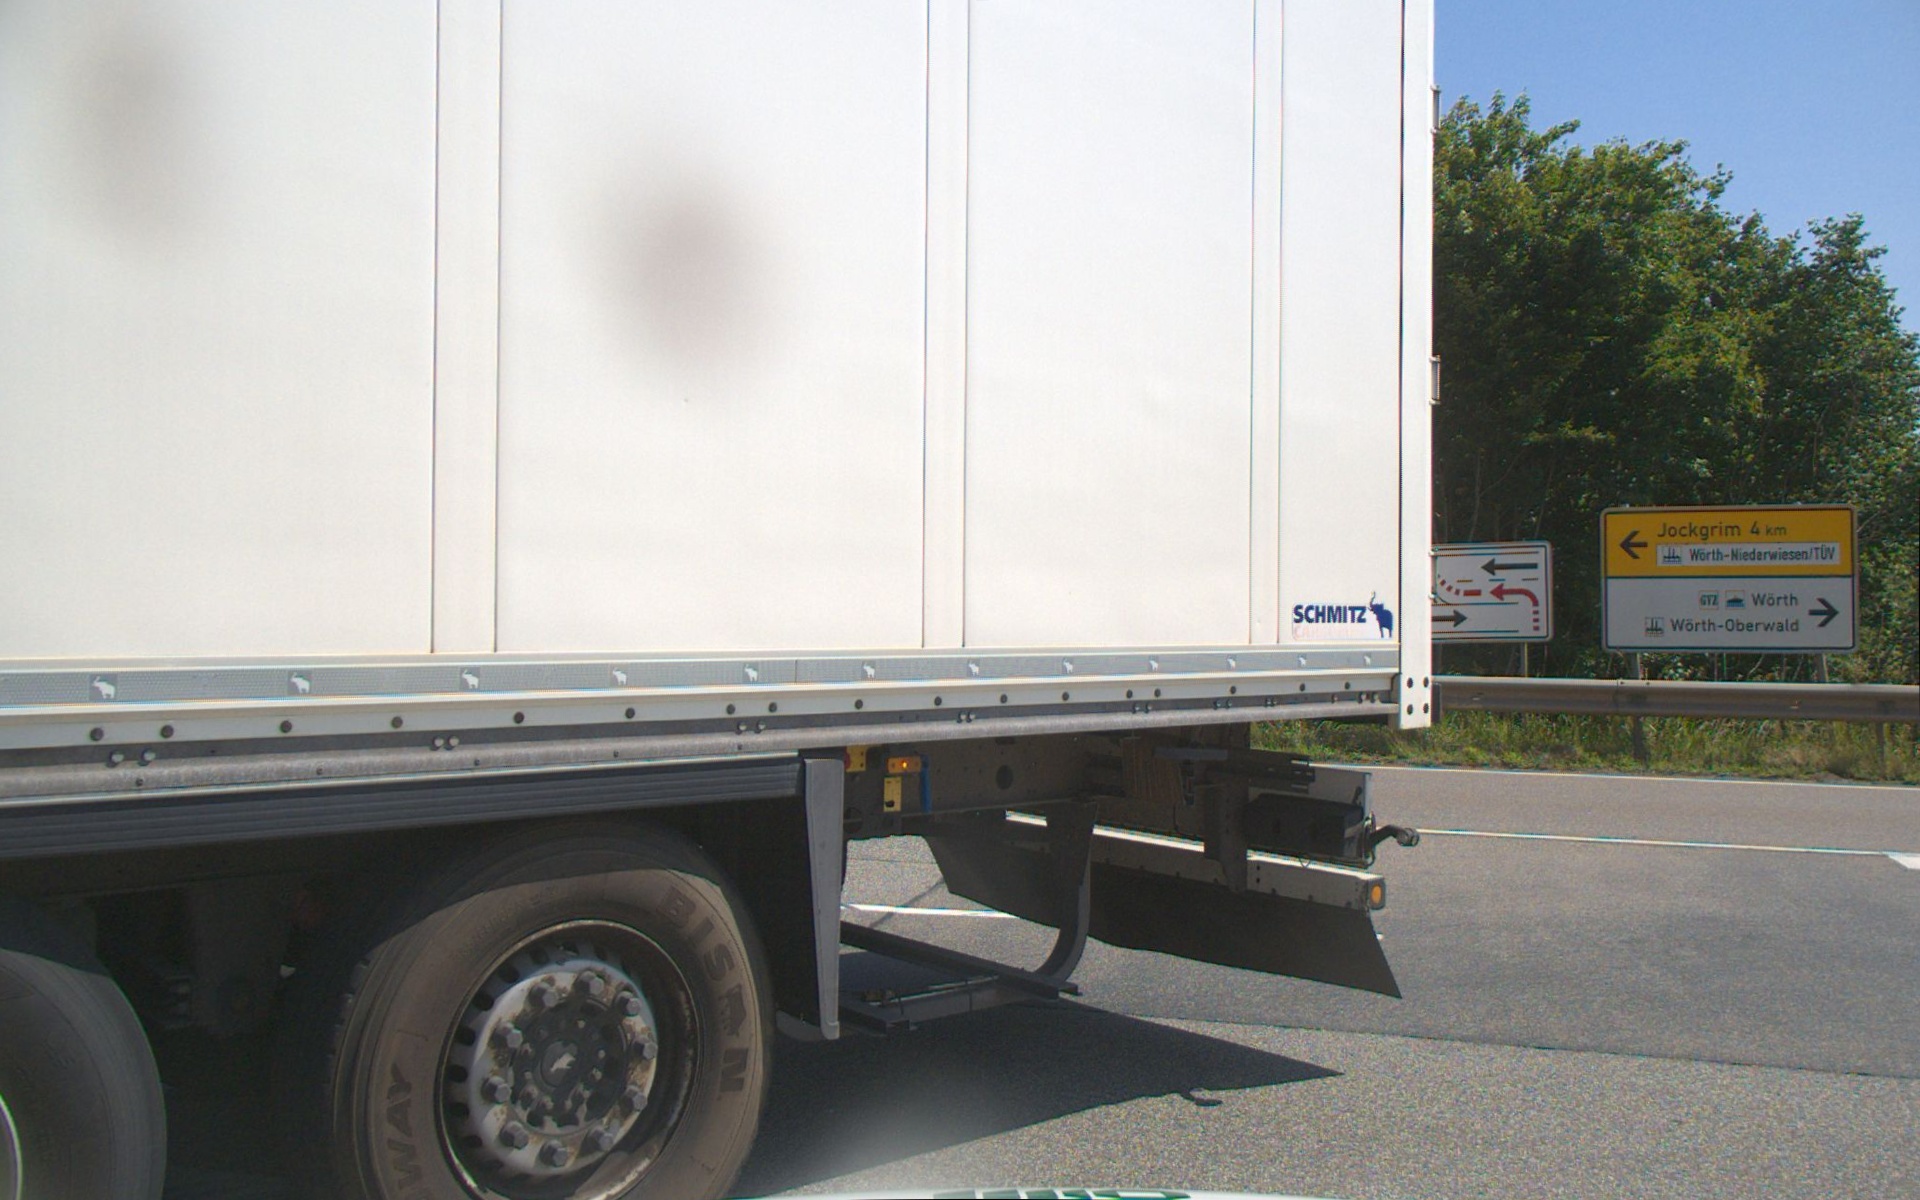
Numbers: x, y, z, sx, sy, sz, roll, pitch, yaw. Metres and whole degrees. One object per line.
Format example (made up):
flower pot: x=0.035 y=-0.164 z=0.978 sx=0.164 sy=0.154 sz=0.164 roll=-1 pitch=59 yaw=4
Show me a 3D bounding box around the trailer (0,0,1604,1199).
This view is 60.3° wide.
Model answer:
trailer: x=-4.213 y=-0.774 z=1.984 sx=13.842 sy=4.238 sz=2.856 roll=0 pitch=0 yaw=-39
